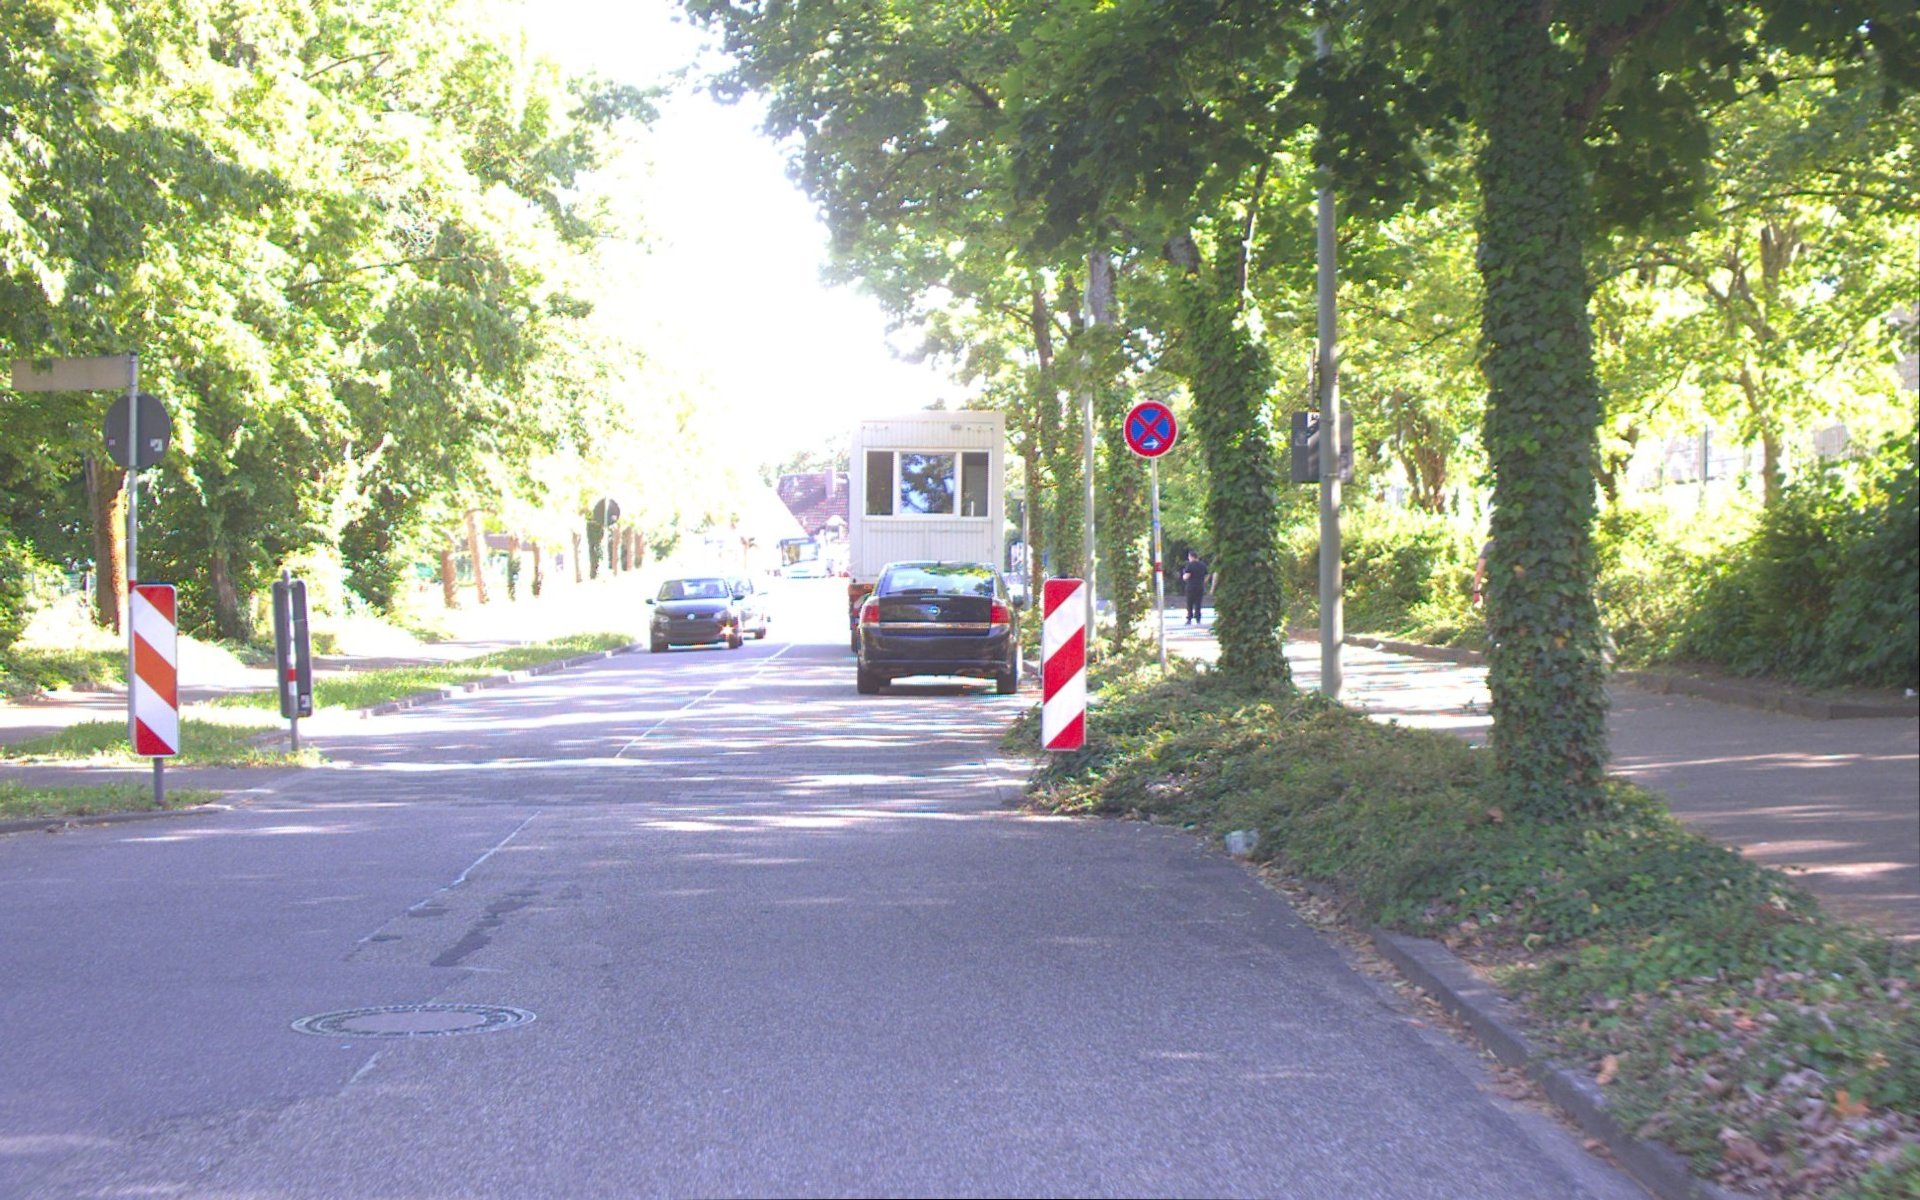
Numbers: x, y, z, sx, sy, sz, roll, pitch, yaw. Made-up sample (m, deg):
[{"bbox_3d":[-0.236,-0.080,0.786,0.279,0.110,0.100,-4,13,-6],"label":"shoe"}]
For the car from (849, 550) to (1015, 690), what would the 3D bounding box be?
[{"bbox_3d":[-0.266,0.205,38.403,1.748,1.475,4.030,0,0,1],"label":"car"}]

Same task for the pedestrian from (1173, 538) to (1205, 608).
[{"bbox_3d":[5.311,-0.634,79.743,0.598,1.605,0.600,-2,1,-4],"label":"pedestrian"}]

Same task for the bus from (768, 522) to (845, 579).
[{"bbox_3d":[-9.589,-3.124,215.470,4.065,3.337,9.800,-2,1,1],"label":"bus"}]

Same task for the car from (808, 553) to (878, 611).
[{"bbox_3d":[-4.164,-0.655,122.696,1.994,2.007,3.999,-1,1,5],"label":"car"}]

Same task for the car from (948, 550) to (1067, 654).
[{"bbox_3d":[0.720,0.002,50.885,1.640,1.415,4.000,-2,1,1],"label":"car"}]

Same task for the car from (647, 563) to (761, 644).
[{"bbox_3d":[-4.851,0.049,65.553,1.601,1.421,3.651,-2,1,4],"label":"car"}]

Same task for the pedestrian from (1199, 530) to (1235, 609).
[{"bbox_3d":[5.913,-0.704,79.119,0.698,1.806,0.700,-2,1,-4],"label":"pedestrian"}]

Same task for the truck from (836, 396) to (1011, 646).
[{"bbox_3d":[-0.722,-1.337,60.510,2.773,3.982,10.349,1,1,-2],"label":"truck"}]

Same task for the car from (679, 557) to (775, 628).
[{"bbox_3d":[-5.110,-0.196,75.875,1.755,1.449,4.243,-2,1,0],"label":"car"}]

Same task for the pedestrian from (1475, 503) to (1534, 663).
[{"bbox_3d":[5.479,-0.174,34.611,0.571,1.602,0.671,0,1,8],"label":"pedestrian"}]
